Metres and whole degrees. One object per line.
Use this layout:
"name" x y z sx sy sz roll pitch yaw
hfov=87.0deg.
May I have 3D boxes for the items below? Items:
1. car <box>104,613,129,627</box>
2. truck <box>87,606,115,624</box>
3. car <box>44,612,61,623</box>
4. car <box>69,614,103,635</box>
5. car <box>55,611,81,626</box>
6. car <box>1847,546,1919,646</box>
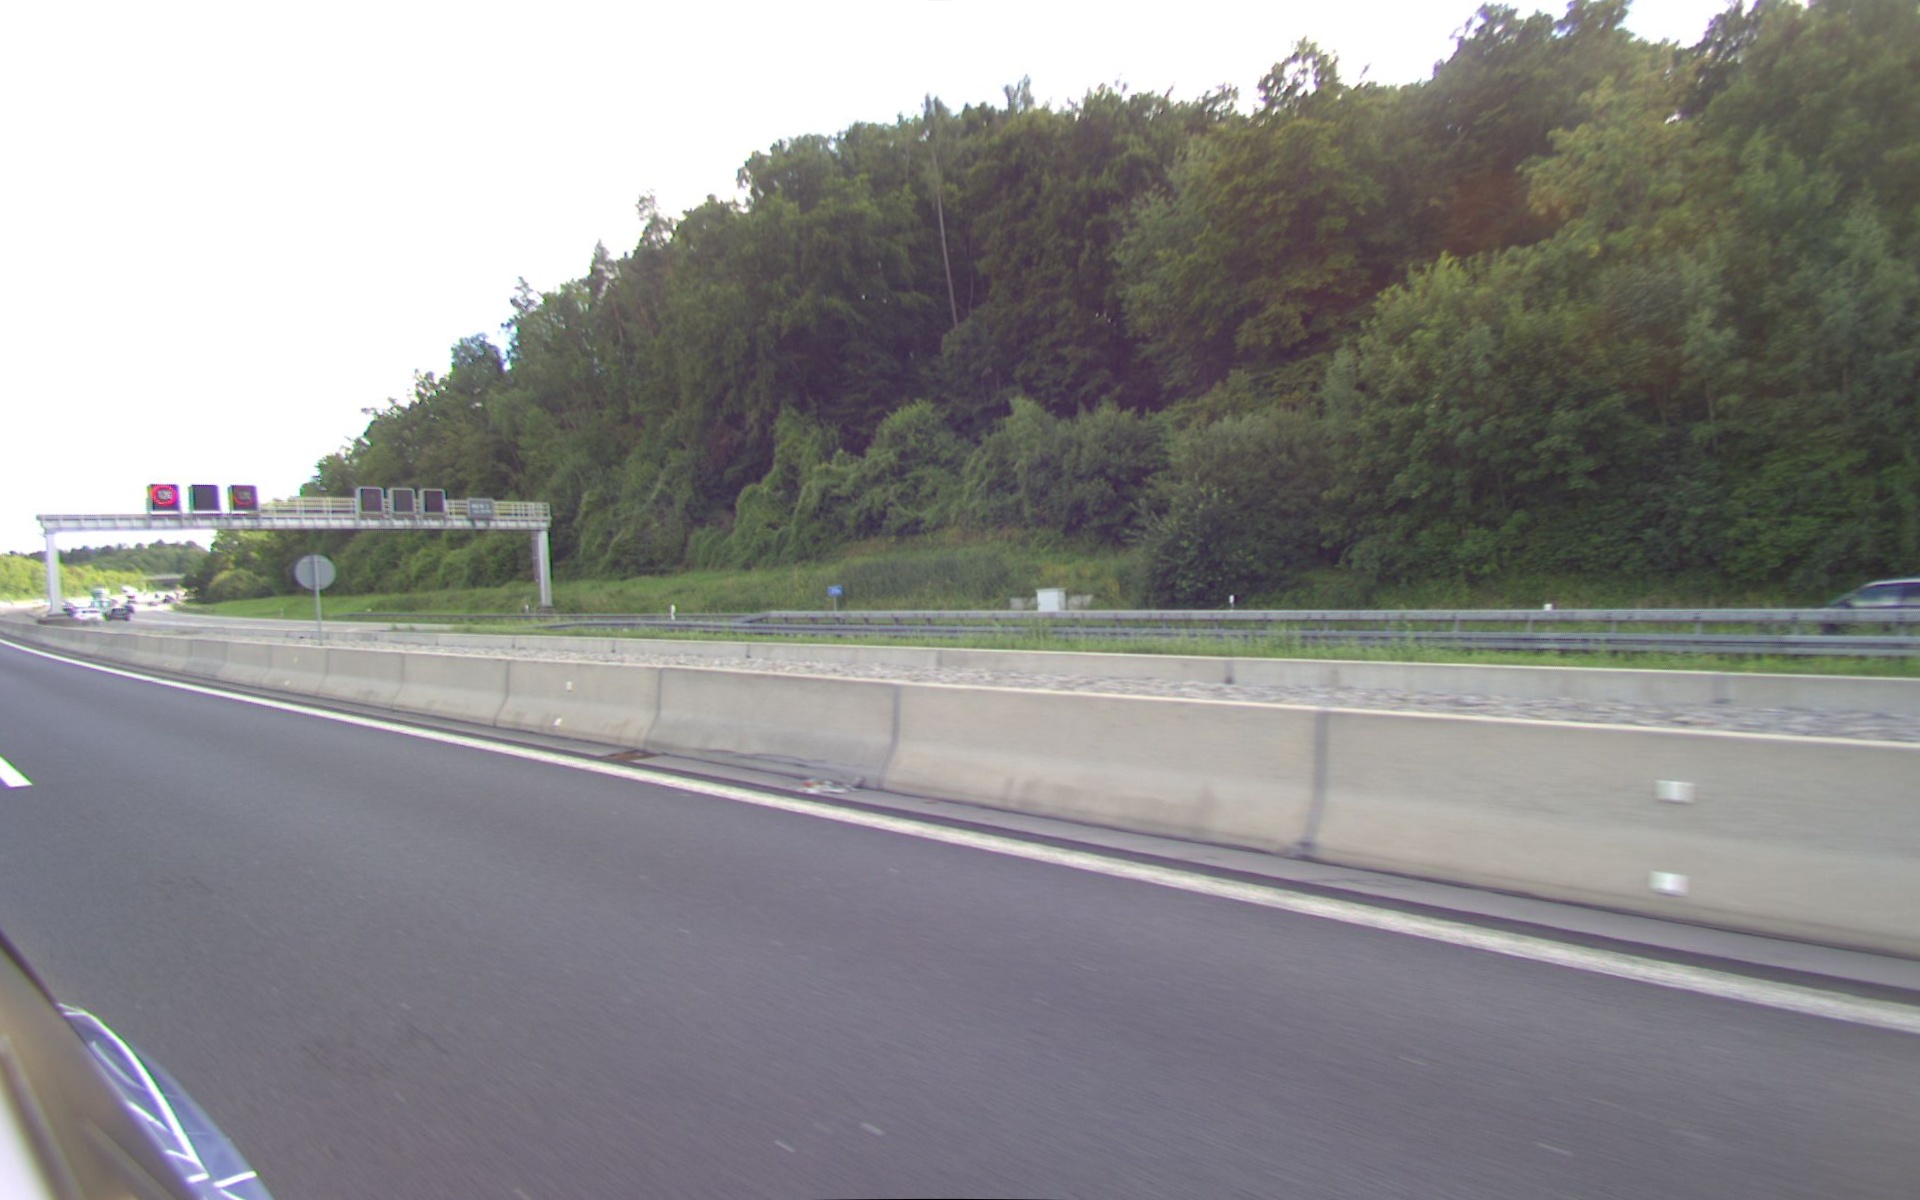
"car" -88.029 2.065 105.642 1.646 1.406 4.604 -1 0 -44
"truck" -106.141 1.848 125.029 2.159 2.242 5.574 -1 0 -45
"car" -118.074 2.270 131.654 1.547 1.461 3.891 -1 0 -44
"car" -73.283 2.030 84.866 4.934 1.593 1.745 -1 0 44
"car" -102.869 2.109 116.708 1.971 1.653 4.002 -1 0 -45
"car" 20.761 -0.104 20.595 3.998 2.029 1.973 -1 0 41
